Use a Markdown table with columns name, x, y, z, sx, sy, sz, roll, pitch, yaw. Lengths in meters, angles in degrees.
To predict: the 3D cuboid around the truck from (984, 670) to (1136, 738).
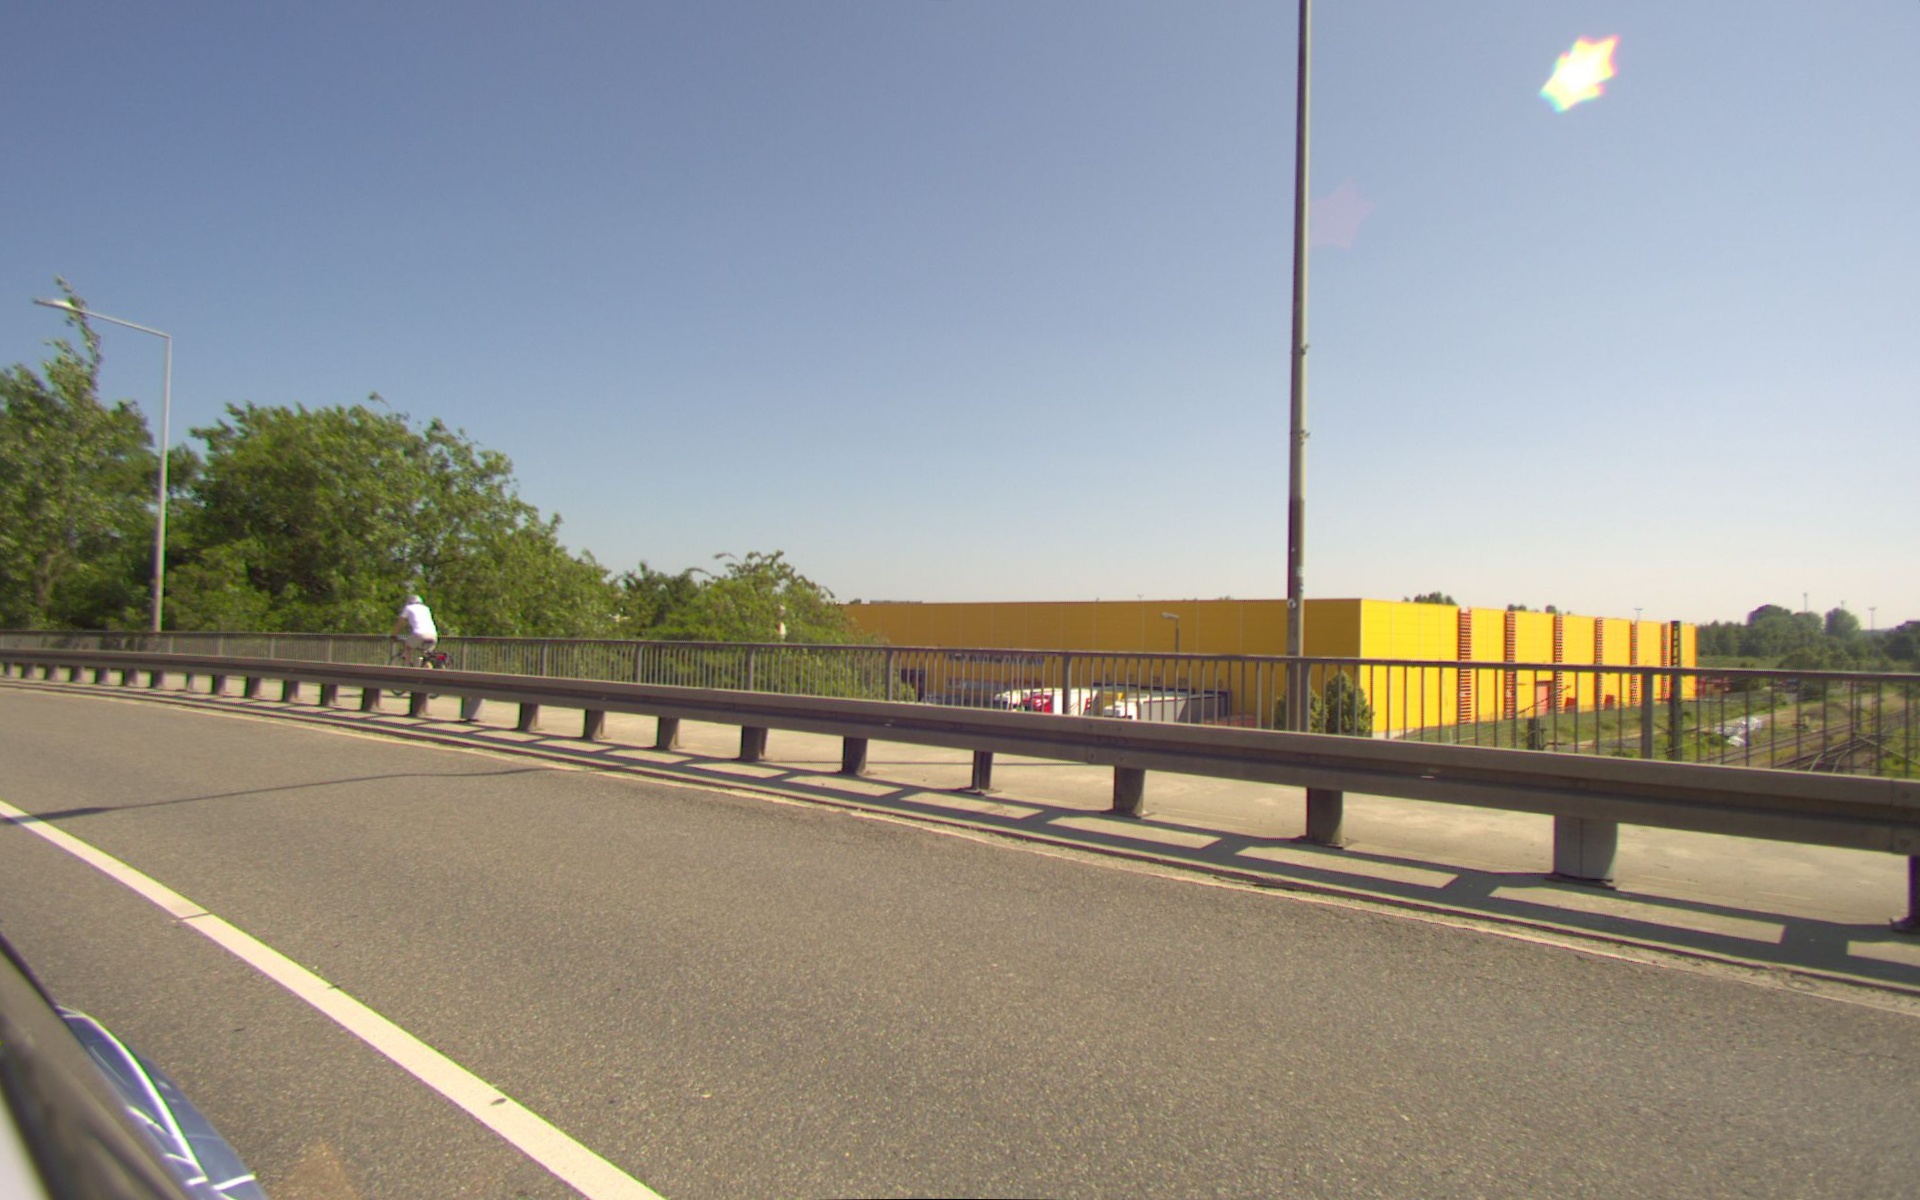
| name | x | y | z | sx | sy | sz | roll | pitch | yaw |
| --- | --- | --- | --- | --- | --- | --- | --- | --- | --- |
| truck | 10.821 | 10.736 | 107.046 | 17.276 | 5.719 | 5.985 | 1 | -1 | -42 |

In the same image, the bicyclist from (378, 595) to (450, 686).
| name | x | y | z | sx | sy | sz | roll | pitch | yaw |
| --- | --- | --- | --- | --- | --- | --- | --- | --- | --- |
| bicyclist | -9.084 | 0.662 | 16.831 | 1.076 | 1.450 | 0.602 | 0 | -3 | 37 |

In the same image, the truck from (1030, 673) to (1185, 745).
| name | x | y | z | sx | sy | sz | roll | pitch | yaw |
| --- | --- | --- | --- | --- | --- | --- | --- | --- | --- |
| truck | 15.143 | 10.690 | 102.100 | 17.276 | 5.719 | 5.797 | 0 | -1 | -42 |

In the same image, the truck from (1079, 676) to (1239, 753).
| name | x | y | z | sx | sy | sz | roll | pitch | yaw |
| --- | --- | --- | --- | --- | --- | --- | --- | --- | --- |
| truck | 19.420 | 10.726 | 97.388 | 17.276 | 5.719 | 5.985 | 0 | -1 | -42 |

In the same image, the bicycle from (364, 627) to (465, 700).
| name | x | y | z | sx | sy | sz | roll | pitch | yaw |
| --- | --- | --- | --- | --- | --- | --- | --- | --- | --- |
| bicycle | -9.074 | 1.040 | 16.797 | 2.146 | 1.144 | 0.606 | -1 | -4 | 37 |

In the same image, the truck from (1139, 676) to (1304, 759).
| name | x | y | z | sx | sy | sz | roll | pitch | yaw |
| --- | --- | --- | --- | --- | --- | --- | --- | --- | --- |
| truck | 24.010 | 10.346 | 91.911 | 17.276 | 5.719 | 5.985 | 0 | -1 | -42 |
